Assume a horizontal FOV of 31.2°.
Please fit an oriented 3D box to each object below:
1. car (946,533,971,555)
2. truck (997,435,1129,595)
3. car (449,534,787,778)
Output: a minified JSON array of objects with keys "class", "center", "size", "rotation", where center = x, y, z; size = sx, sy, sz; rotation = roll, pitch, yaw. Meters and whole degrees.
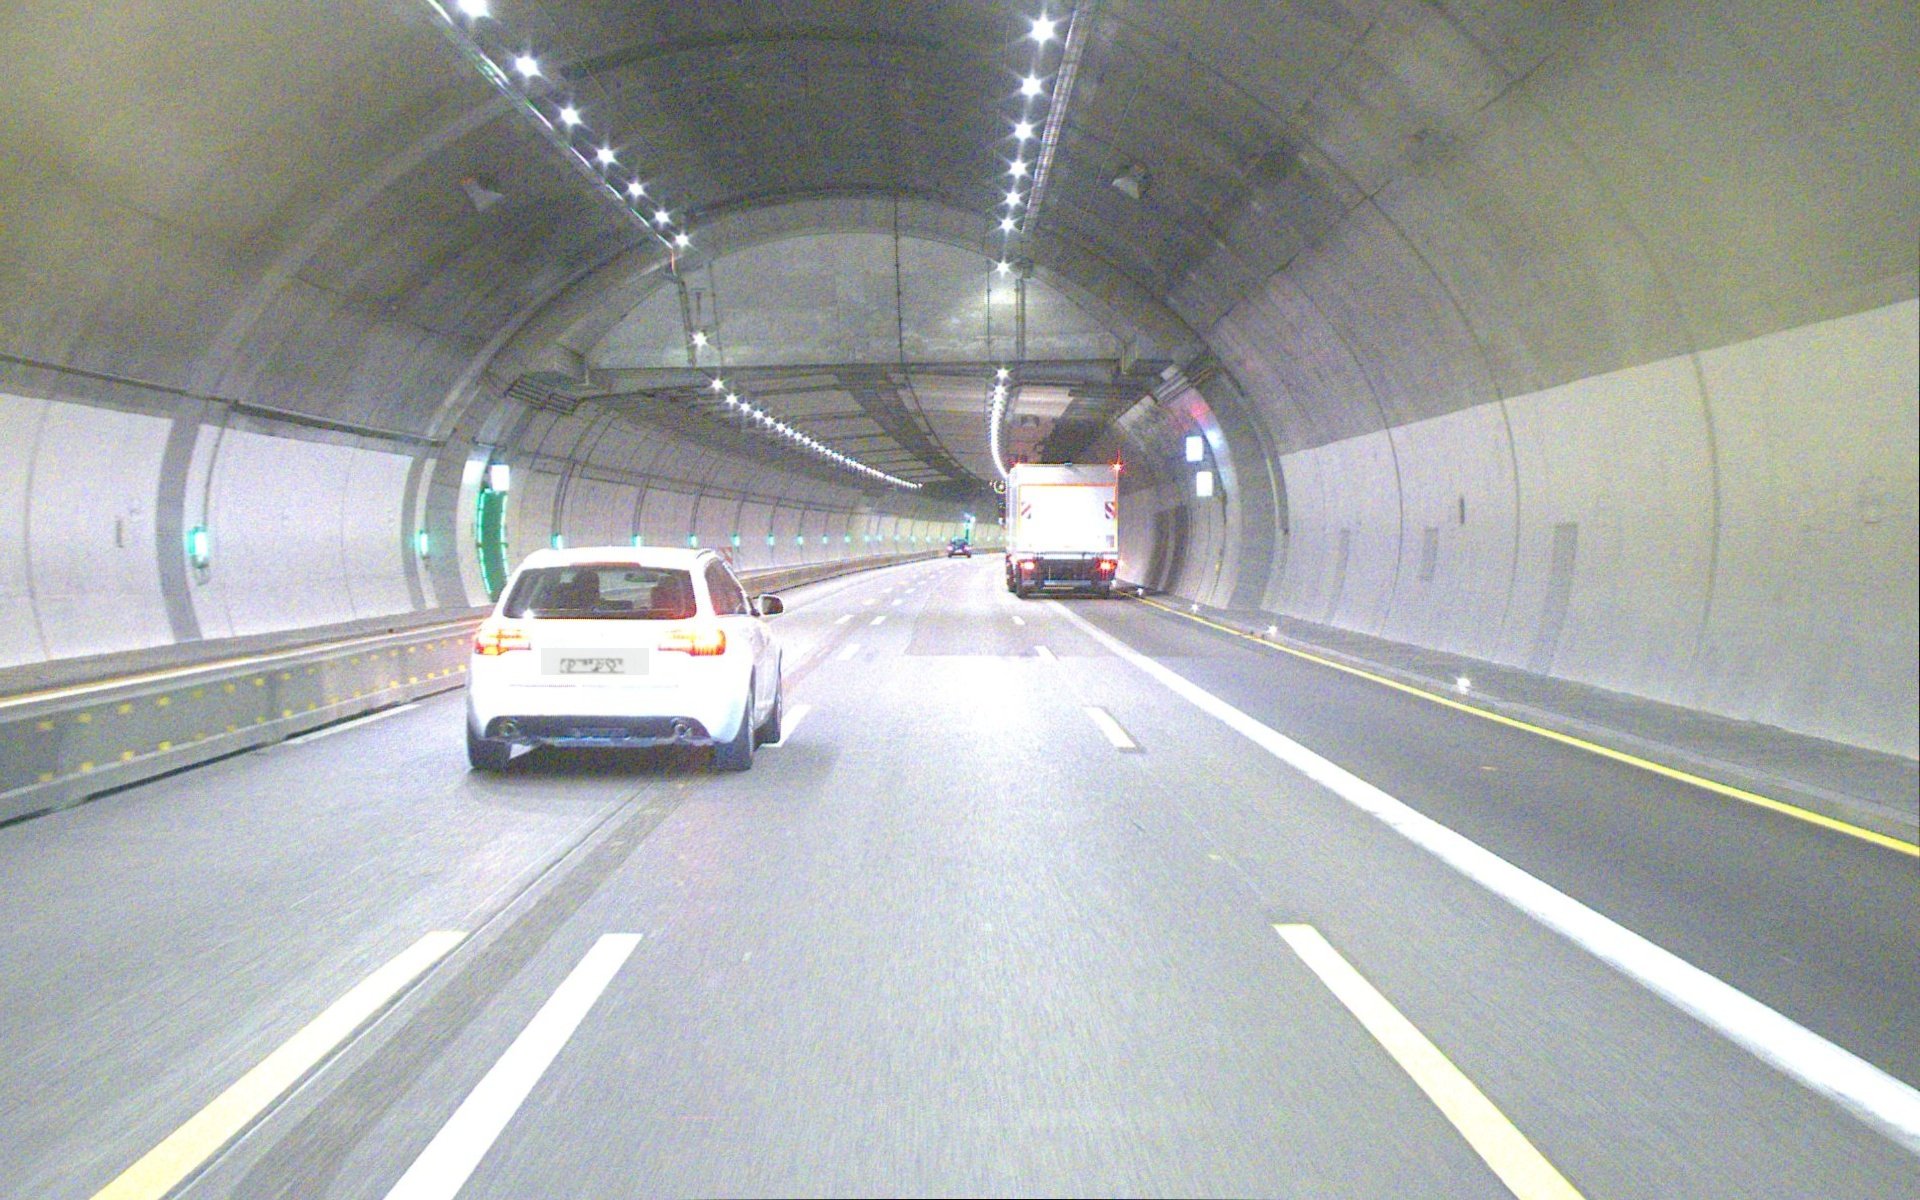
[{"class":"car","center":[-0.096,-4.053,246.837],"size":[1.758,1.456,4.119],"rotation":[-1,2,0]},{"class":"truck","center":[2.618,-2.146,90.480],"size":[3.092,3.904,10.368],"rotation":[-1,0,0]},{"class":"car","center":[-2.230,0.310,23.617],"size":[1.903,1.479,4.944],"rotation":[1,1,-1]}]
